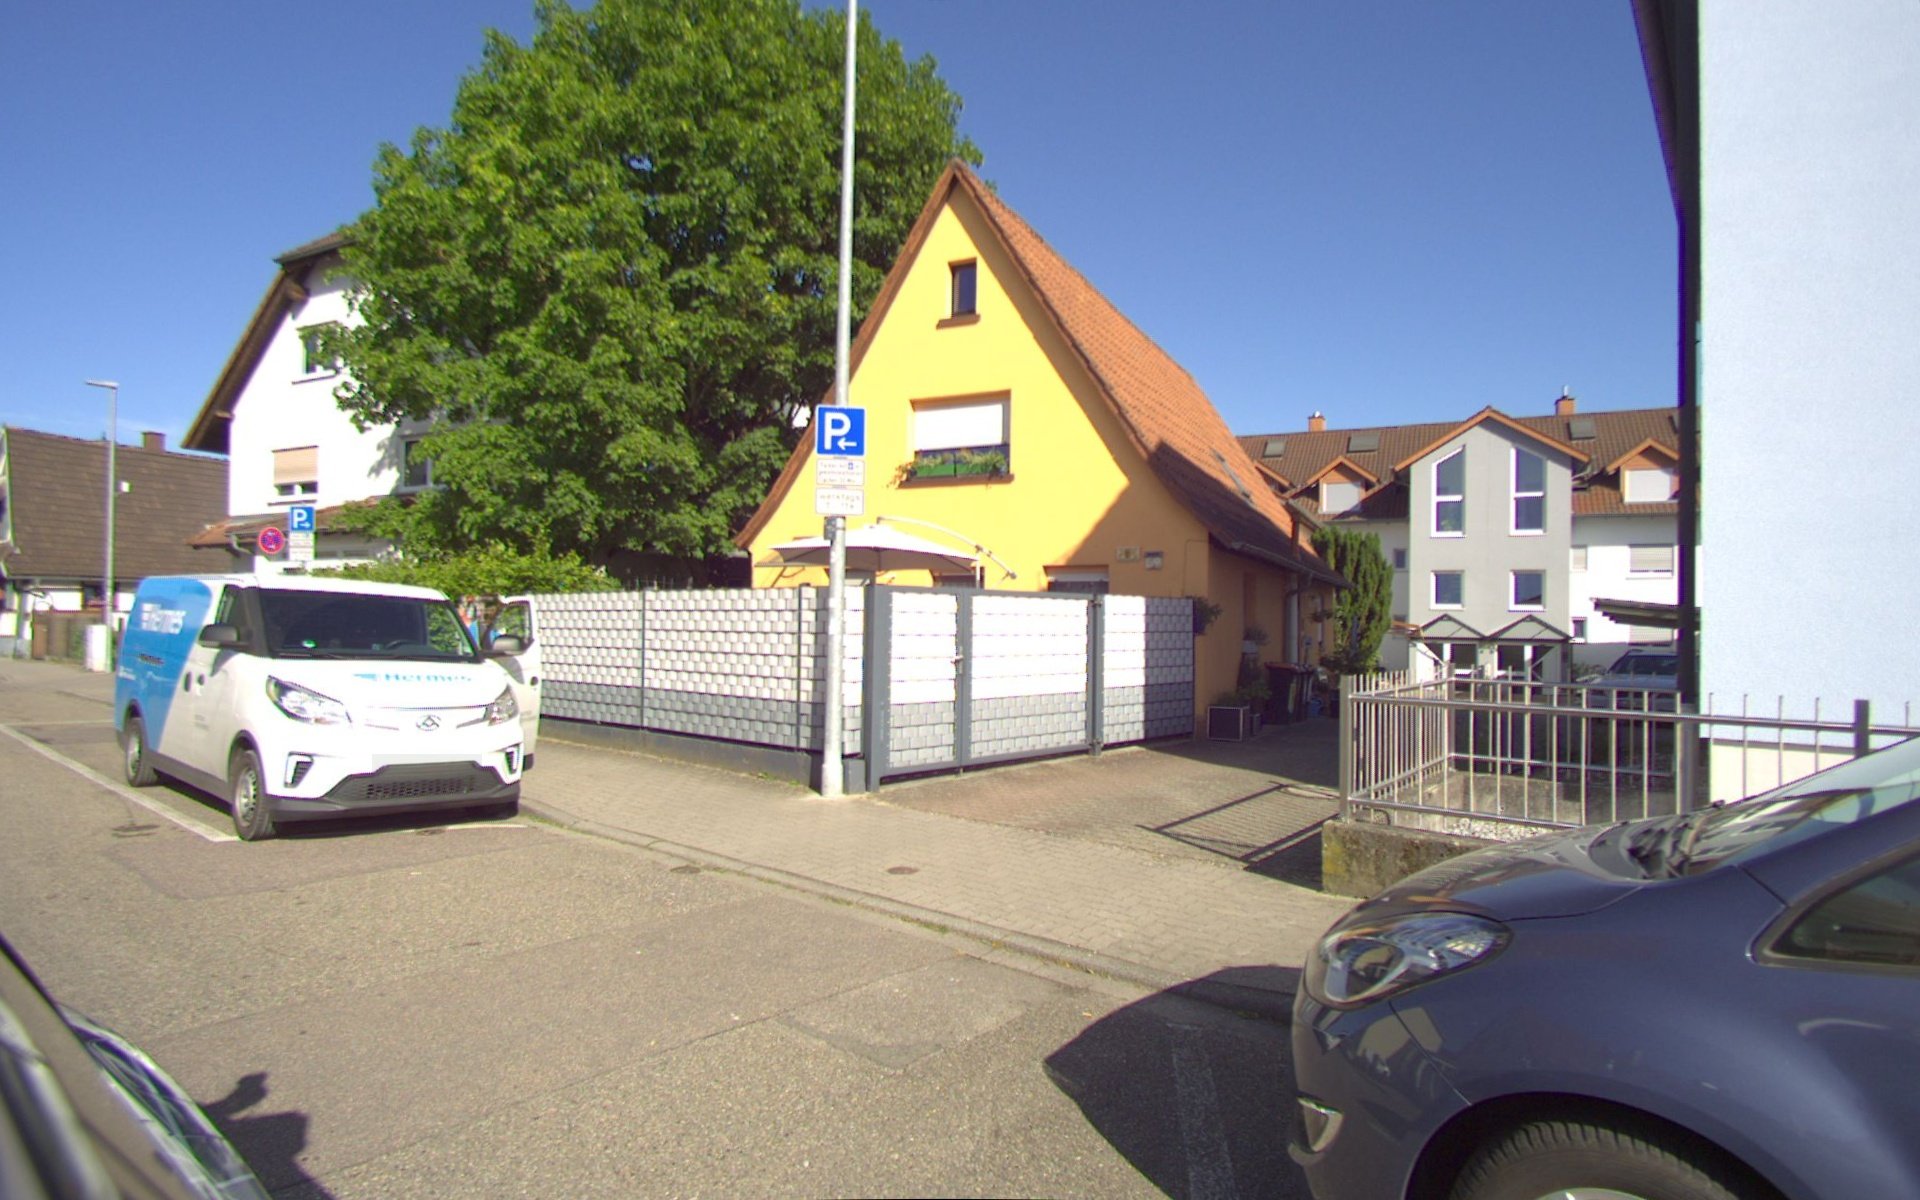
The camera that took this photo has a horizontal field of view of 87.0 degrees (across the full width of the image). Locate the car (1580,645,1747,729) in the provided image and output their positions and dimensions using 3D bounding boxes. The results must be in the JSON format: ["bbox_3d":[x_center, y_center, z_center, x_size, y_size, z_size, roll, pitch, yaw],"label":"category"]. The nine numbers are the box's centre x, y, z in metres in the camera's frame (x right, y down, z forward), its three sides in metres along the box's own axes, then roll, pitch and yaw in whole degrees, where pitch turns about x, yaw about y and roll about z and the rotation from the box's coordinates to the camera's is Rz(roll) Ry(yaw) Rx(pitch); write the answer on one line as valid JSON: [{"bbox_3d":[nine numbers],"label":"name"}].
[{"bbox_3d":[13.447,1.612,19.266,3.939,1.409,1.798,4,-4,-43],"label":"car"}]

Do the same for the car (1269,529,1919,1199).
[{"bbox_3d":[2.672,0.716,1.477,3.922,1.610,1.697,-1,-2,40],"label":"car"}]

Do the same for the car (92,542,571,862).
[{"bbox_3d":[-5.475,0.681,8.487,5.066,1.932,1.883,-1,-3,40],"label":"car"}]

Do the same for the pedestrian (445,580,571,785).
[{"bbox_3d":[-4.125,0.718,9.256,0.618,1.762,0.872,-1,-1,40],"label":"pedestrian"}]

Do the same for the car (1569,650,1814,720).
[{"bbox_3d":[16.799,1.907,23.465,4.439,1.420,1.777,-1,-3,37],"label":"car"}]
